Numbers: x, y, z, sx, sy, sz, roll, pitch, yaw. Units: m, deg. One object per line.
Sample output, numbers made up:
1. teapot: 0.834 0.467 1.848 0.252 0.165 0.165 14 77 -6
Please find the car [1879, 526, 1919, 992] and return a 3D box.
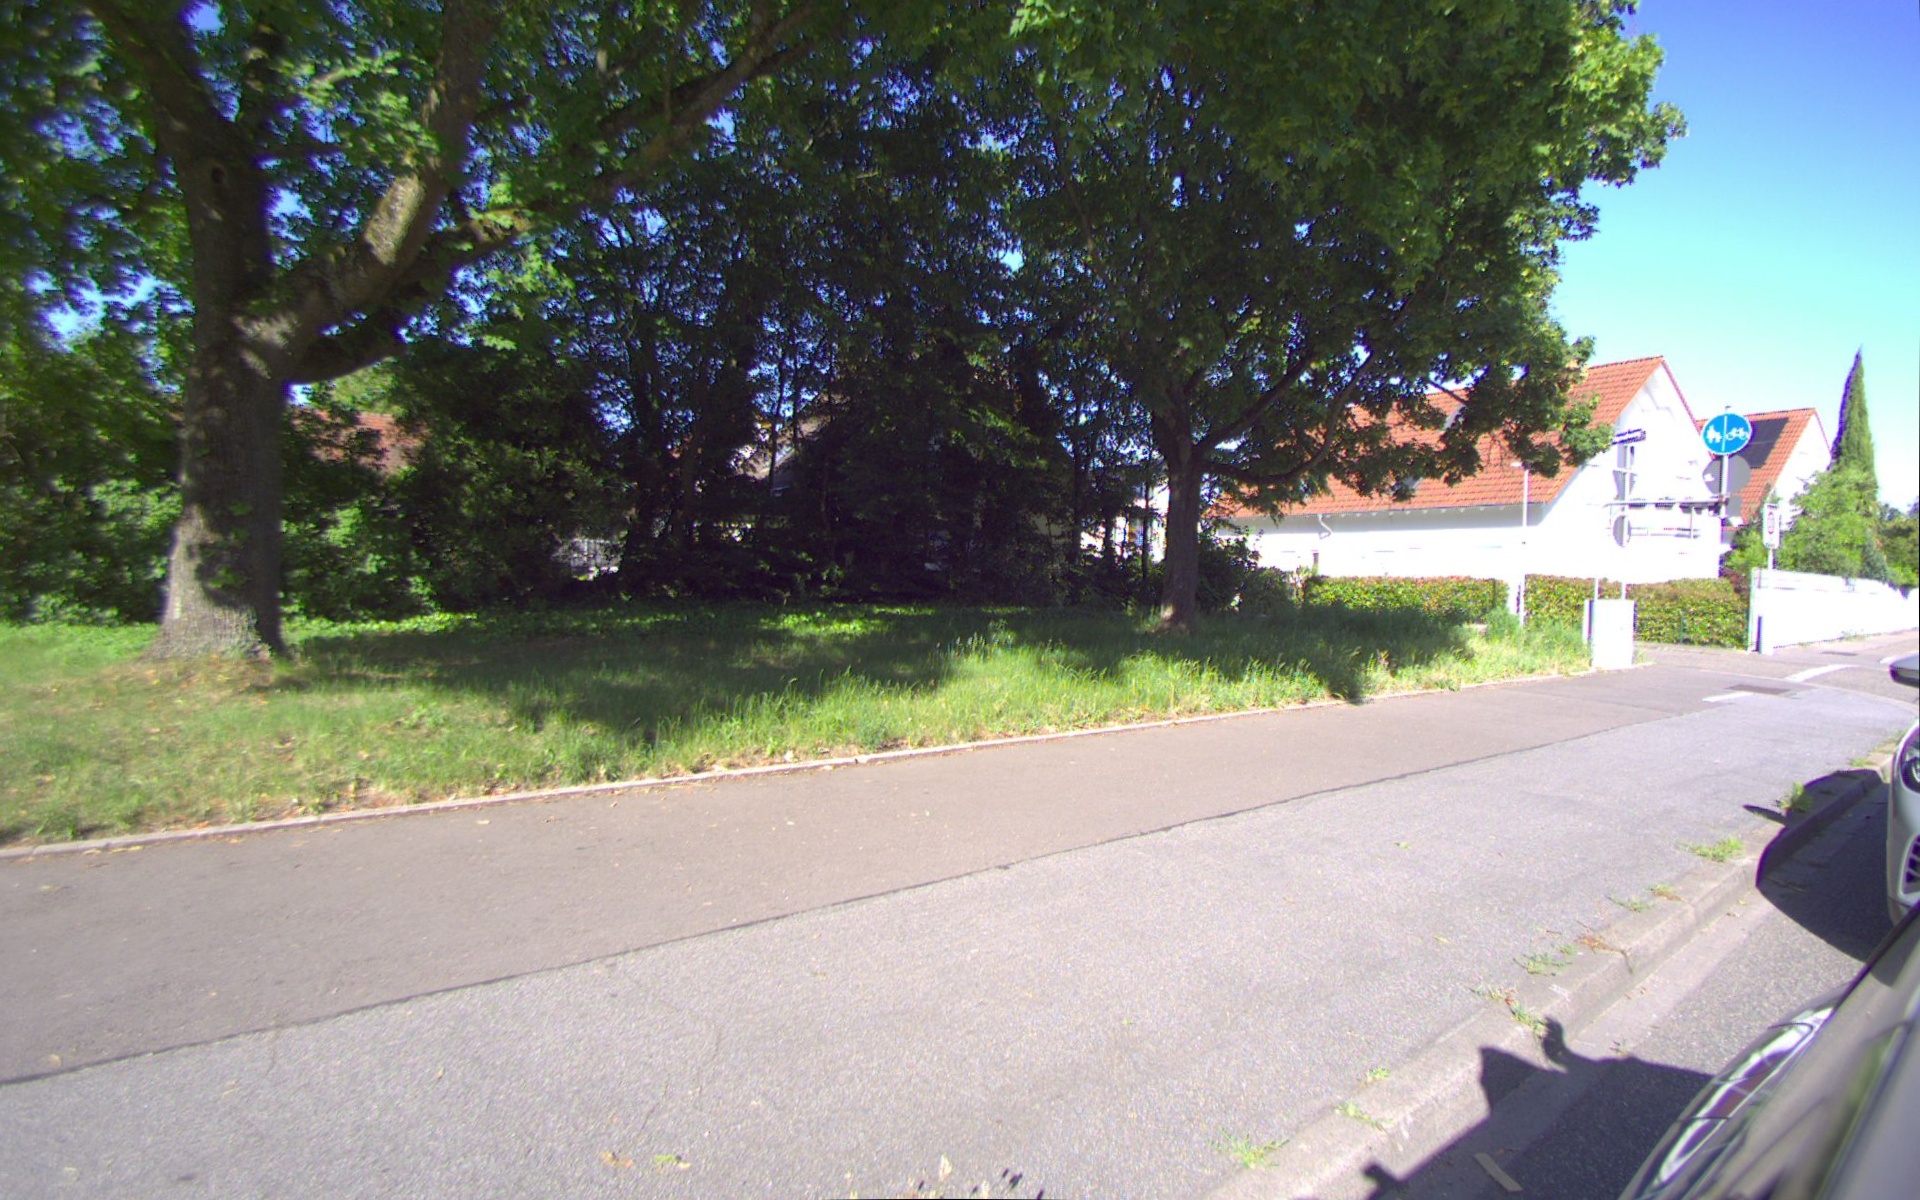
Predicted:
1. car: 5.631 0.606 4.431 4.133 1.710 1.857 0 3 -41
